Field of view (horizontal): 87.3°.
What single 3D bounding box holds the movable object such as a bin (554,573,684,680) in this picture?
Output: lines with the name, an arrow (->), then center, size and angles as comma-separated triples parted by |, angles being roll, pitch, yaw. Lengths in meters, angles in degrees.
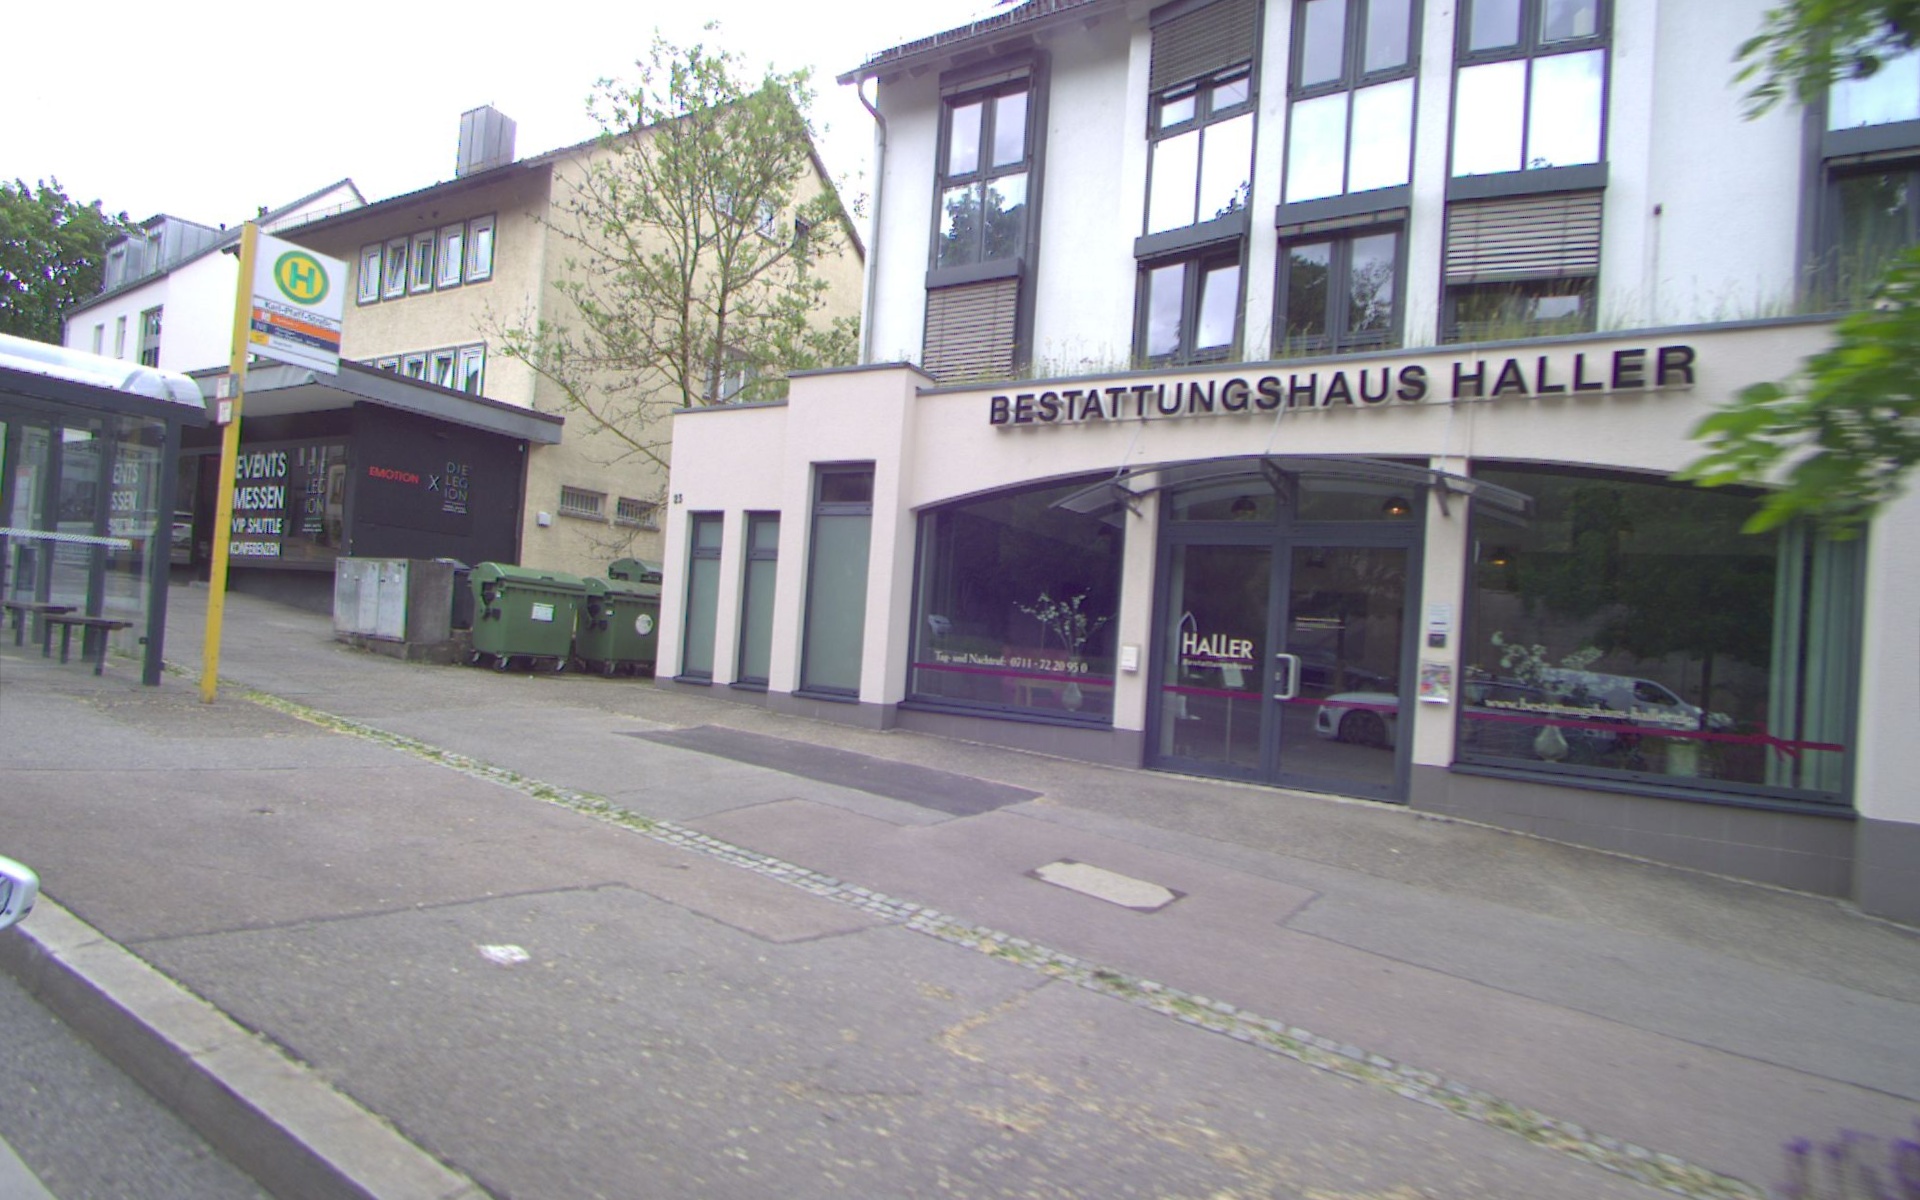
movable object such as a bin -> -5.171, 0.420, 15.318 | 1.109, 1.426, 1.342 | 7, 0, 33

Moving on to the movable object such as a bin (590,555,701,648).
movable object such as a bin -> -5.496, 0.036, 17.617 | 1.053, 1.426, 1.342 | 7, 0, 33

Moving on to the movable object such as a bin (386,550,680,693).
movable object such as a bin -> -6.103, 0.283, 14.273 | 3.936, 1.469, 1.890 | 7, -1, 34
